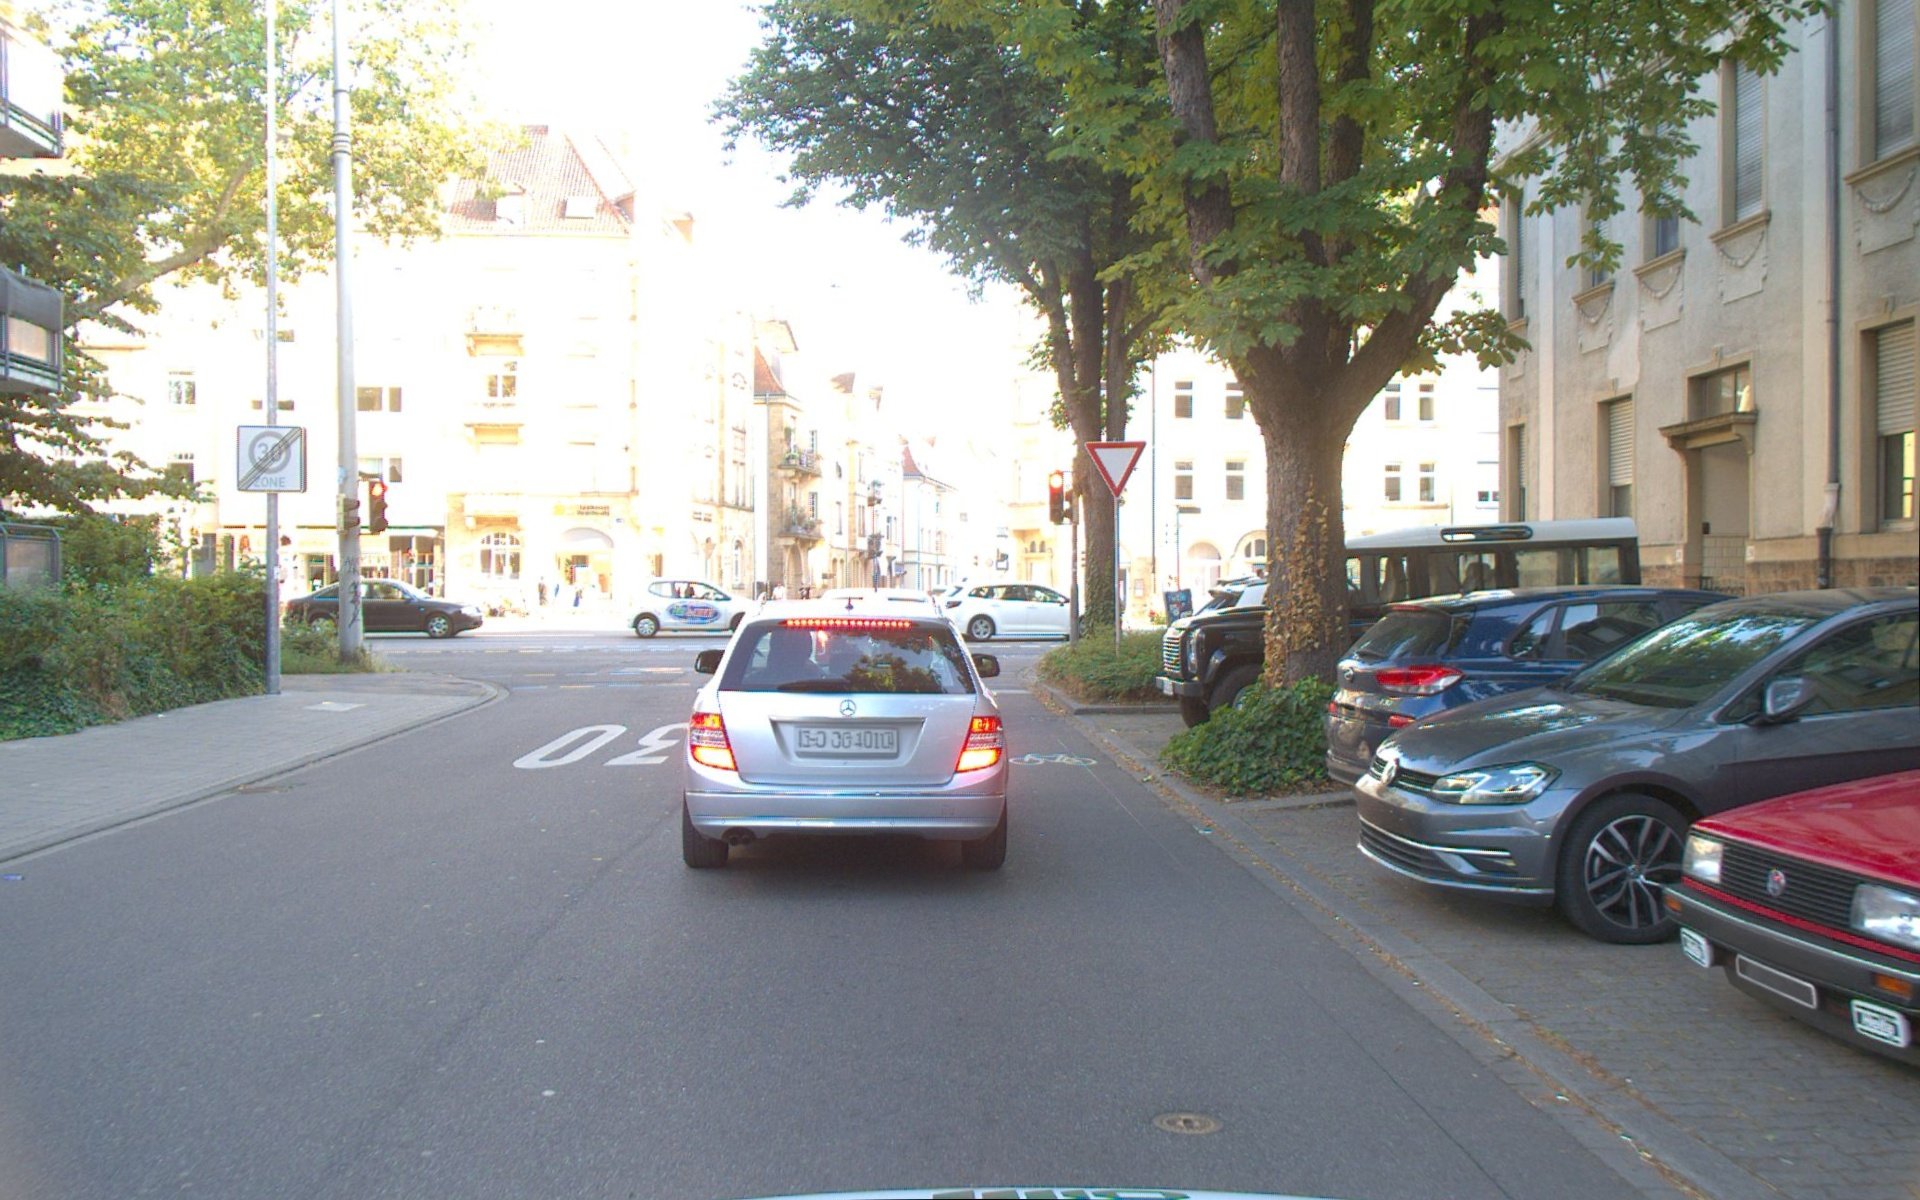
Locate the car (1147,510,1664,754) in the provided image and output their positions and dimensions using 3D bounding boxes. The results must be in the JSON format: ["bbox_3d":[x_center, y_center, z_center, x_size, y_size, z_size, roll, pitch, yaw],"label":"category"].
[{"bbox_3d":[4.106,0.267,15.612,4.378,2.071,1.699,-1,0,-5],"label":"car"}]

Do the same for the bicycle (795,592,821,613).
[{"bbox_3d":[-7.237,0.111,78.660,0.754,0.950,1.942,1,1,10],"label":"bicycle"}]

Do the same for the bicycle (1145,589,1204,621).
[{"bbox_3d":[8.527,0.182,65.787,2.213,1.268,0.636,0,0,-6],"label":"bicycle"}]

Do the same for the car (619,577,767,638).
[{"bbox_3d":[-6.710,0.167,41.686,3.619,1.474,1.513,0,0,-10],"label":"car"}]

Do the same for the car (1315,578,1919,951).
[{"bbox_3d":[3.883,0.652,7.817,3.974,1.477,1.721,-1,0,-5],"label":"car"}]

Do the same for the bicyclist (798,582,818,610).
[{"bbox_3d":[-7.234,-0.188,78.659,0.754,1.312,0.753,1,1,10],"label":"bicyclist"}]

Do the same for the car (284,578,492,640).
[{"bbox_3d":[-13.995,0.194,40.701,4.603,1.453,1.715,0,0,-10],"label":"car"}]

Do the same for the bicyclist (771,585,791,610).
[{"bbox_3d":[-8.514,-0.129,78.613,0.754,1.177,0.753,1,1,10],"label":"bicyclist"}]

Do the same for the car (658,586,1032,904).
[{"bbox_3d":[-0.655,0.665,10.042,1.742,1.477,4.545,1,0,-3],"label":"car"}]

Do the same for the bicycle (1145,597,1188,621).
[{"bbox_3d":[8.054,0.352,64.513,1.586,0.892,0.636,0,0,-7],"label":"bicycle"}]

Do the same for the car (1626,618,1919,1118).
[{"bbox_3d":[4.587,0.720,5.578,4.056,1.338,1.627,-1,0,-6],"label":"car"}]

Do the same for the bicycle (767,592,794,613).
[{"bbox_3d":[-8.531,0.097,78.536,0.754,0.956,1.942,1,1,10],"label":"bicycle"}]

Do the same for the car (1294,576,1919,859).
[{"bbox_3d":[4.063,0.629,10.040,3.651,1.477,1.707,-1,0,-5],"label":"car"}]

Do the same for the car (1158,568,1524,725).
[{"bbox_3d":[4.211,0.485,18.590,3.651,1.597,1.707,-1,0,-5],"label":"car"}]

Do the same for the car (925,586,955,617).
[{"bbox_3d":[-1.475,0.078,122.702,1.749,2.242,4.003,0,1,7],"label":"car"}]

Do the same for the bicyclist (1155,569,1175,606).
[{"bbox_3d":[7.997,-0.493,64.487,0.631,1.451,0.636,0,0,-6],"label":"bicyclist"}]

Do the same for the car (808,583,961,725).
[{"bbox_3d":[-0.902,0.544,19.406,1.587,1.472,4.342,1,0,-3],"label":"car"}]

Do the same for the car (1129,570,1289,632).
[{"bbox_3d":[6.597,0.011,44.049,3.893,1.609,1.736,0,0,-9],"label":"car"}]

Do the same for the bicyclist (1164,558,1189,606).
[{"bbox_3d":[8.617,-0.726,65.789,0.874,1.892,0.636,0,0,-6],"label":"bicyclist"}]

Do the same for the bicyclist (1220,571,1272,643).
[{"bbox_3d":[6.757,0.161,39.081,0.979,1.683,0.805,0,0,-12],"label":"bicyclist"}]

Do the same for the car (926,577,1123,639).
[{"bbox_3d":[1.551,0.170,40.506,4.577,1.473,1.735,0,0,-11],"label":"car"}]

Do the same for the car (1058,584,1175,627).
[{"bbox_3d":[4.525,0.150,47.905,3.163,1.202,1.317,0,0,-10],"label":"car"}]

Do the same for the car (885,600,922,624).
[{"bbox_3d":[-3.652,0.765,107.817,1.796,1.427,4.003,0,1,7],"label":"car"}]
